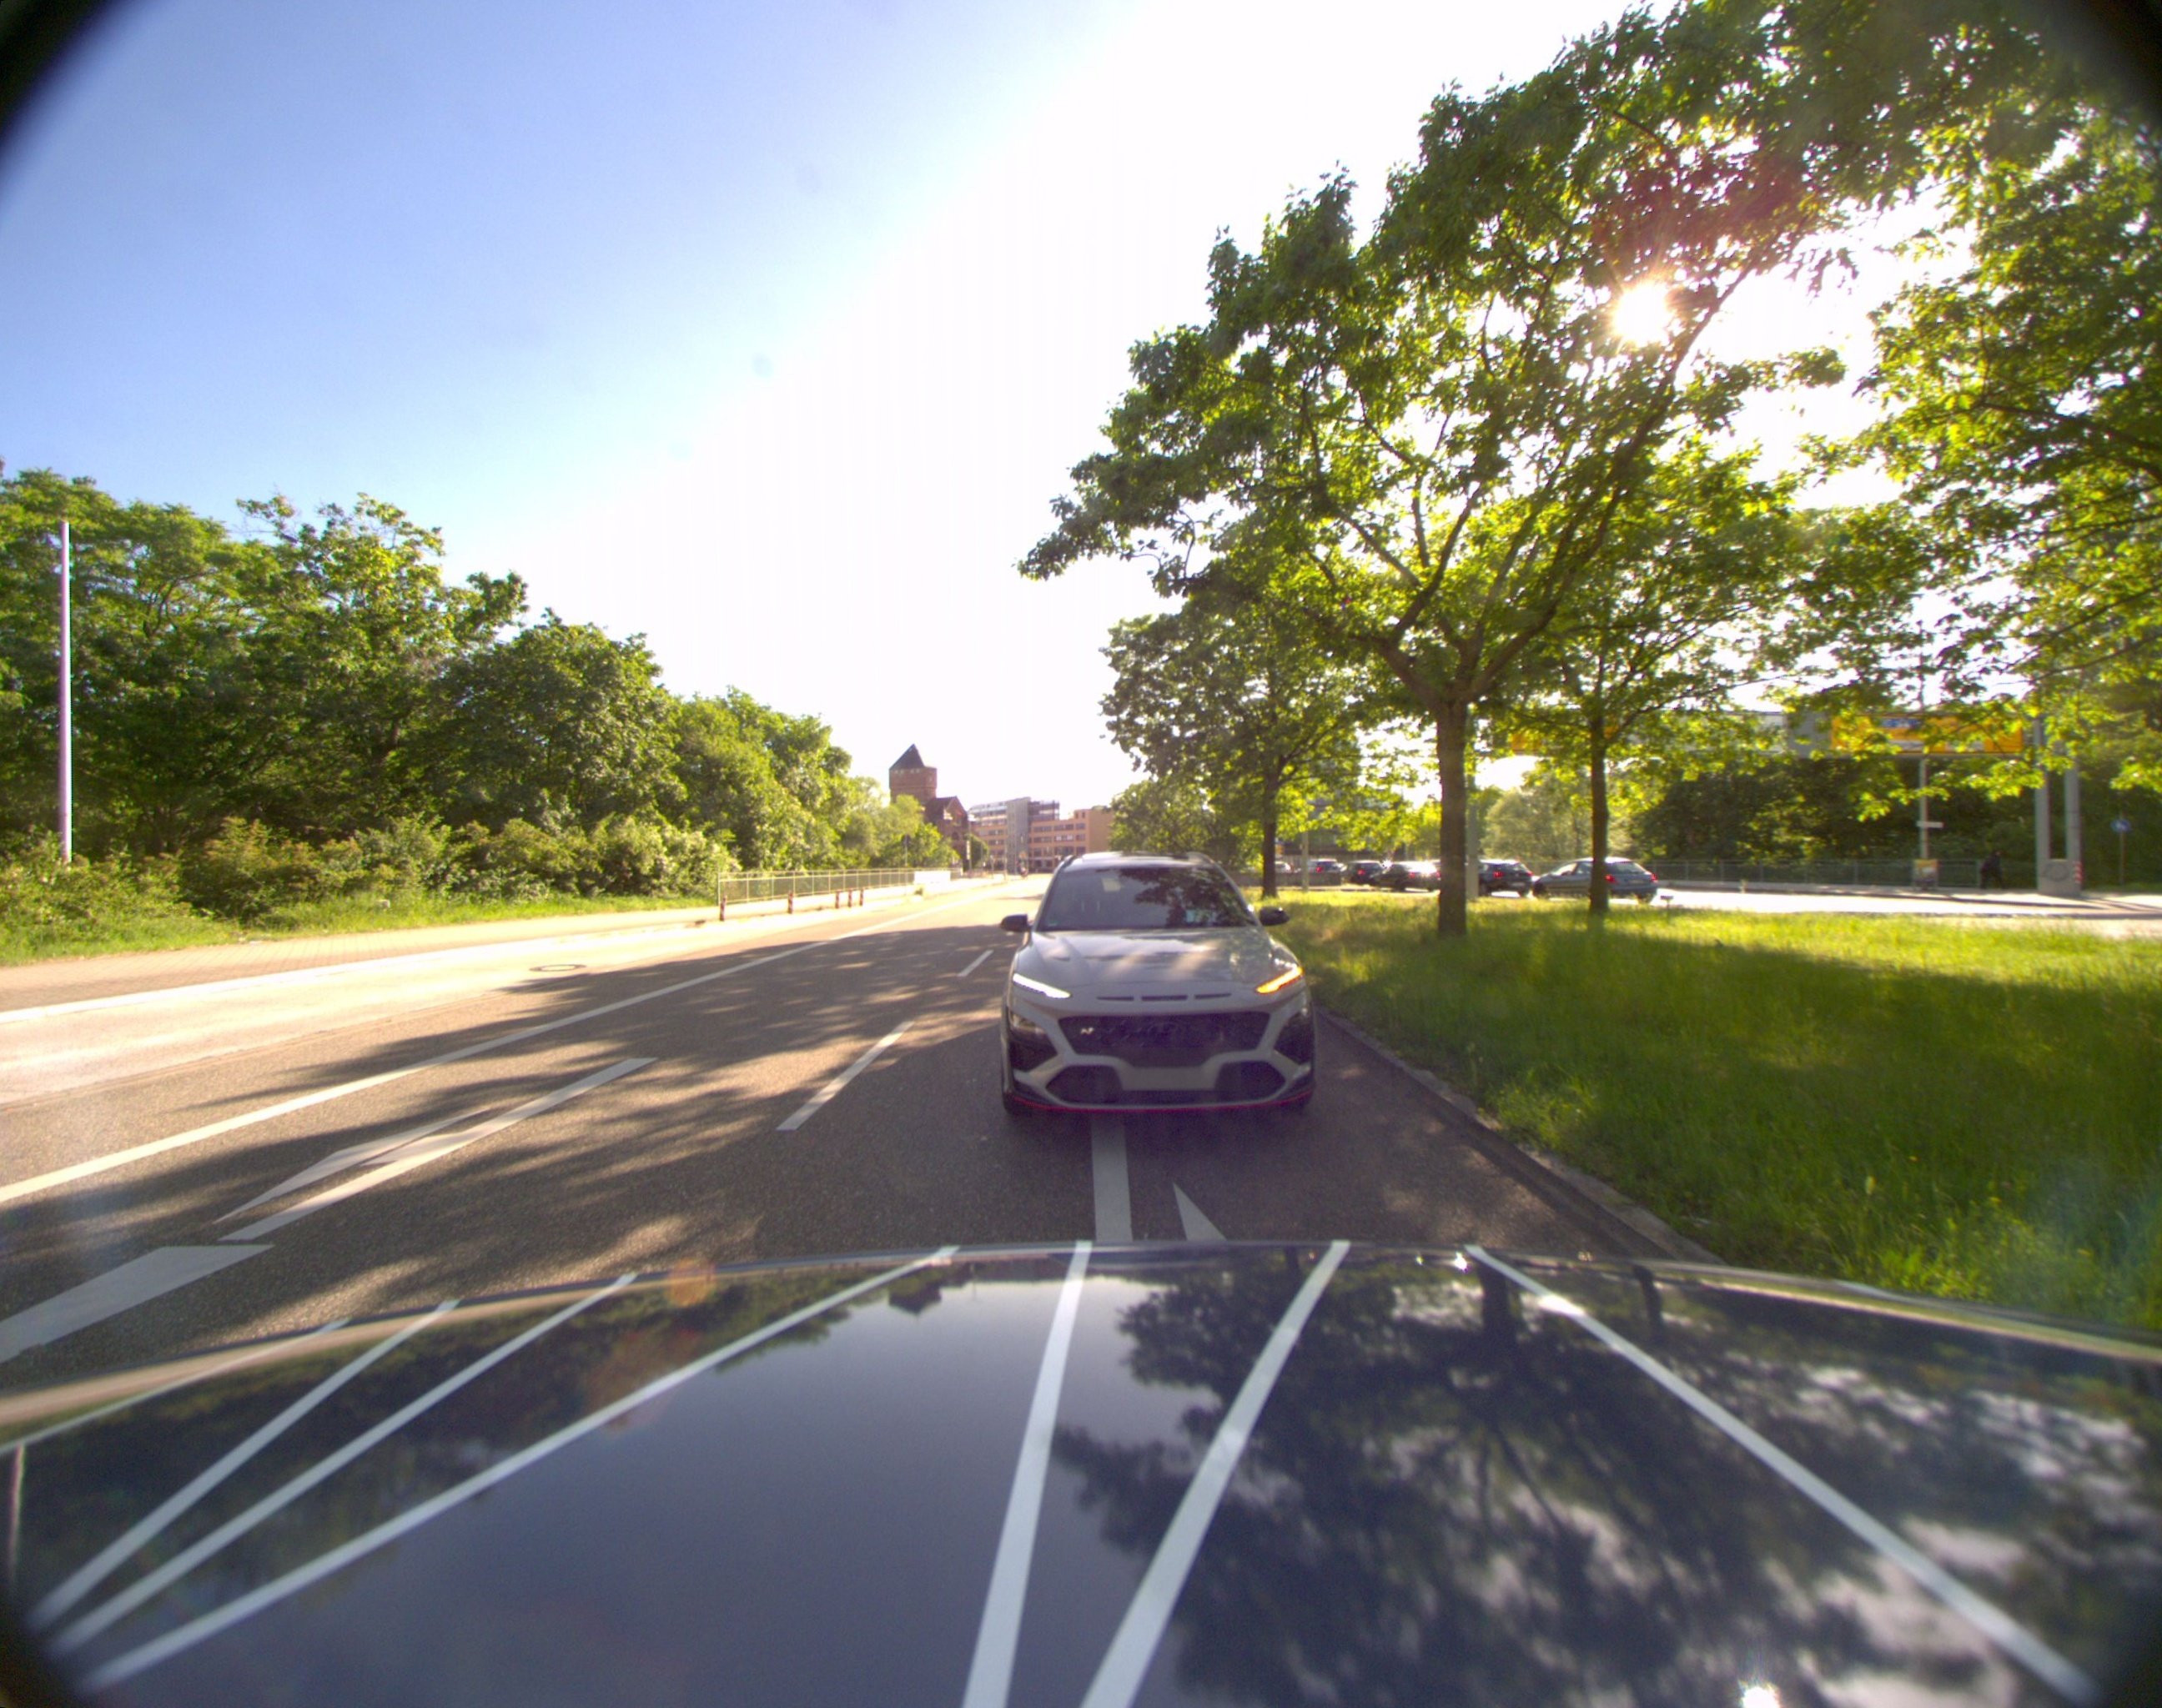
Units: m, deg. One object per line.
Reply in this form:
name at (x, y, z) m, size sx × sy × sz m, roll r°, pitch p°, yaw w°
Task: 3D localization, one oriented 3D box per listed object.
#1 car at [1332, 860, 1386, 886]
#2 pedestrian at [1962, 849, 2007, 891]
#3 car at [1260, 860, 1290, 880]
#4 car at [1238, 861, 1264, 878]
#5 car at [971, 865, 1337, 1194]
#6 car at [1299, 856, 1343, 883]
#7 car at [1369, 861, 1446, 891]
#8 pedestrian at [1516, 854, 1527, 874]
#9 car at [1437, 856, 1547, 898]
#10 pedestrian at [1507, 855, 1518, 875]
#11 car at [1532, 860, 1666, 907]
car at (15.142, 1.039, 41.479) m, size 1.481 × 1.331 × 3.202 m, roll -1°, pitch -1°, yaw -6°
pedestrian at (36.286, 0.635, 30.530) m, size 0.912 × 1.620 × 0.990 m, roll -1°, pitch 0°, yaw 32°
car at (14.310, 1.215, 56.131) m, size 1.228 × 1.331 × 2.882 m, roll -1°, pitch -3°, yaw -6°
car at (13.933, 1.284, 62.328) m, size 1.199 × 1.252 × 2.768 m, roll -1°, pitch -2°, yaw -6°
car at (0.381, 0.887, 5.688) m, size 1.752 × 1.523 × 3.988 m, roll -1°, pitch 0°, yaw 1°
car at (14.961, 0.998, 47.540) m, size 1.450 × 1.549 × 3.202 m, roll -1°, pitch -2°, yaw -6°
car at (15.466, 1.003, 36.223) m, size 1.623 × 1.305 × 4.066 m, roll -1°, pitch 0°, yaw -6°
pedestrian at (32.669, 0.753, 56.366) m, size 0.421 × 1.490 × 0.545 m, roll -1°, pitch 0°, yaw -7°
car at (16.179, 0.852, 30.150) m, size 1.875 × 1.541 × 4.221 m, roll -1°, pitch 0°, yaw -4°
pedestrian at (32.207, 0.793, 56.732) m, size 0.421 × 1.490 × 0.545 m, roll -1°, pitch 0°, yaw -7°
car at (16.382, 0.887, 24.244) m, size 1.561 × 1.355 × 3.608 m, roll -1°, pitch -1°, yaw -6°
